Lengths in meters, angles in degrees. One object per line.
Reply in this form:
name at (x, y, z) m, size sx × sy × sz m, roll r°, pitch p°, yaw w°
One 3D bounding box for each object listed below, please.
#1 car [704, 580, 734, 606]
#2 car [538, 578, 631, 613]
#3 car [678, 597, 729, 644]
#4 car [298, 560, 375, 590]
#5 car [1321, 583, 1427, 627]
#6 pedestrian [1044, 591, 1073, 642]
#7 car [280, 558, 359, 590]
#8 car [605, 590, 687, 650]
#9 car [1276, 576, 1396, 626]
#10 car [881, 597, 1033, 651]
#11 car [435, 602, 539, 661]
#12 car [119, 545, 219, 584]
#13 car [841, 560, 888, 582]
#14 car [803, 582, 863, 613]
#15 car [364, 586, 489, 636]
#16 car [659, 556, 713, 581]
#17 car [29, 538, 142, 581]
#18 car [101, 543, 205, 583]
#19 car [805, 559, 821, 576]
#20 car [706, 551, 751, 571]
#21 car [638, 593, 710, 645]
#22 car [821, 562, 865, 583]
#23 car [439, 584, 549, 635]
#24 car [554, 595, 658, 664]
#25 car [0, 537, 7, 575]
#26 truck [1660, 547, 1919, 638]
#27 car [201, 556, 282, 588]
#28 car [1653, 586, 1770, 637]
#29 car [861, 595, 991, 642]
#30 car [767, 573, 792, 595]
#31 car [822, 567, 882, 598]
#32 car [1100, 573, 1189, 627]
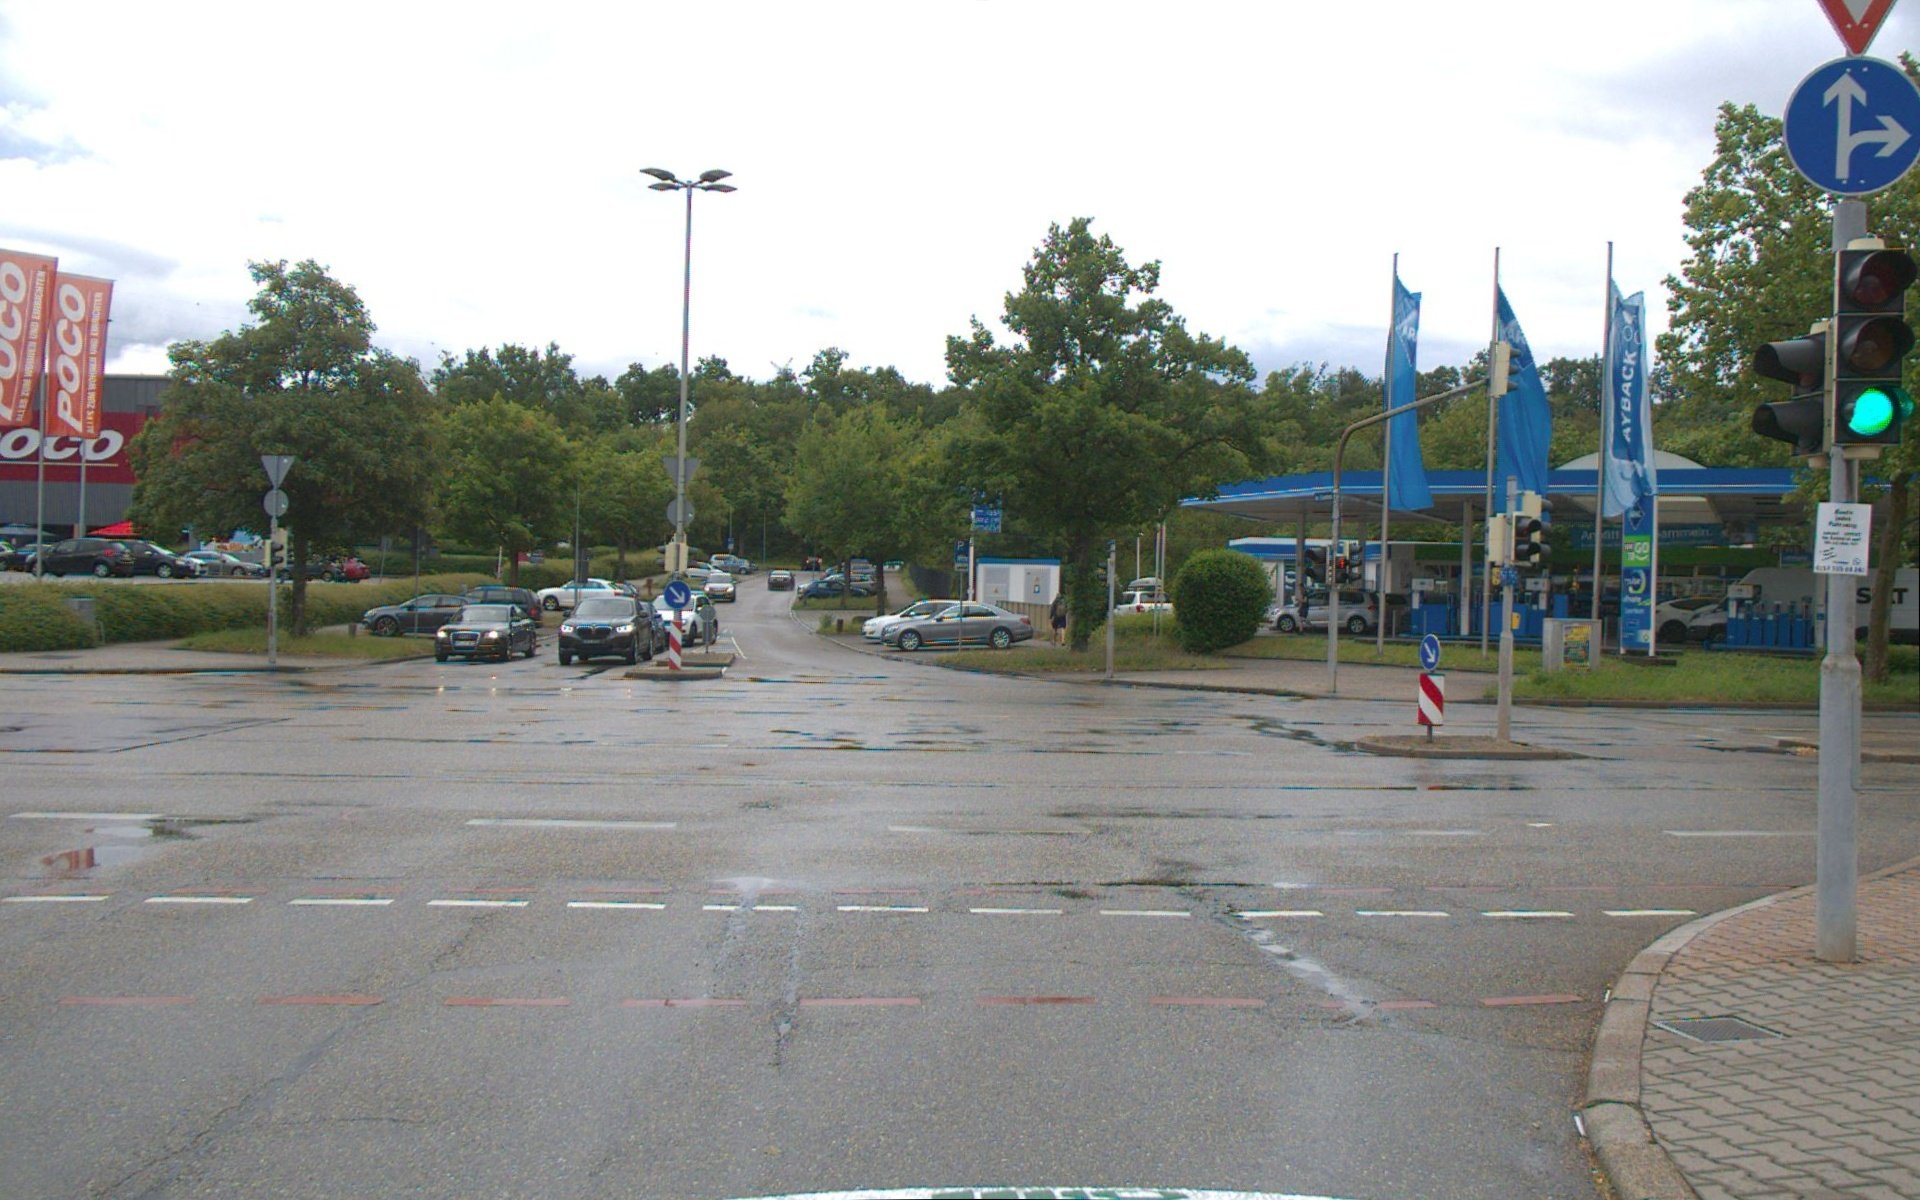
car at (-14.320, -0.390, 98.456) m, size 1.665 × 1.481 × 3.667 m, roll 1°, pitch -1°, yaw -7°
car at (-18.316, -0.224, 80.866) m, size 4.187 × 1.637 × 1.683 m, roll 1°, pitch -1°, yaw -4°
car at (-10.077, 0.772, 65.187) m, size 1.564 × 1.726 × 3.538 m, roll 1°, pitch 1°, yaw -2°
car at (-35.877, -1.425, 95.262) m, size 3.736 × 1.674 × 1.673 m, roll 1°, pitch -1°, yaw 0°
car at (16.929, 0.211, 67.687) m, size 3.909 × 1.758 × 1.793 m, roll 0°, pitch -1°, yaw 27°
pedestrian at (3.306, 0.566, 55.675) m, size 0.793 × 1.690 × 0.885 m, roll 1°, pitch -1°, yaw -9°
car at (-35.778, -1.447, 92.478) m, size 3.736 × 1.674 × 1.673 m, roll 1°, pitch -1°, yaw 0°
car at (-9.192, 0.584, 48.786) m, size 1.760 × 1.661 × 4.548 m, roll 1°, pitch -1°, yaw -3°
car at (14.339, 0.037, 63.177) m, size 4.041 × 1.839 × 1.940 m, roll 1°, pitch -1°, yaw 33°
car at (-0.137, 0.760, 54.431) m, size 4.794 × 1.575 × 1.997 m, roll -1°, pitch 2°, yaw -8°
car at (-12.126, 0.794, 42.609) m, size 1.748 × 1.429 × 3.997 m, roll 1°, pitch 0°, yaw -4°
car at (-36.281, -1.608, 75.904) m, size 3.736 × 1.674 × 1.673 m, roll 1°, pitch -1°, yaw 0°
car at (-8.234, -2.480, 142.192) m, size 3.911 × 1.769 × 1.808 m, roll 1°, pitch -1°, yaw -7°
car at (-7.321, -0.155, 95.486) m, size 3.393 × 1.683 × 1.614 m, roll 1°, pitch -1°, yaw -6°
car at (-17.401, 0.368, 54.078) m, size 3.580 × 1.580 × 1.682 m, roll 1°, pitch -1°, yaw -8°
car at (-20.496, -2.337, 123.827) m, size 3.912 × 1.825 × 1.853 m, roll 1°, pitch -1°, yaw -8°
car at (-35.997, -1.671, 68.153) m, size 3.736 × 1.674 × 1.673 m, roll 1°, pitch -1°, yaw 0°
car at (-35.681, -1.619, 73.156) m, size 3.736 × 1.674 × 1.673 m, roll 1°, pitch -1°, yaw 0°
car at (-16.132, -3.524, 181.284) m, size 1.769 × 1.769 × 3.995 m, roll 1°, pitch 0°, yaw -5°
car at (-21.582, -3.651, 154.342) m, size 3.907 × 1.825 × 1.855 m, roll 0°, pitch -1°, yaw -3°
car at (-9.221, 0.586, 53.613) m, size 1.858 × 1.580 × 3.997 m, roll 1°, pitch 1°, yaw -4°
car at (-10.573, -2.463, 149.580) m, size 3.911 × 1.769 × 1.808 m, roll 1°, pitch -1°, yaw -7°
car at (-16.771, 0.337, 59.701) m, size 3.580 × 1.755 × 1.682 m, roll 1°, pitch -1°, yaw -8°
car at (-8.682, 0.708, 40.948) m, size 1.858 × 1.580 × 4.588 m, roll 1°, pitch 0°, yaw -4°
car at (-37.598, -1.663, 61.098) m, size 3.816 × 1.405 × 1.673 m, roll 1°, pitch -1°, yaw 0°
truck at (26.175, -0.209, 51.875) m, size 7.691 × 2.722 × 2.154 m, roll 0°, pitch -1°, yaw 25°
car at (-40.232, -1.562, 92.648) m, size 3.736 × 1.674 × 1.673 m, roll 1°, pitch -1°, yaw 0°
car at (26.044, 0.380, 57.307) m, size 3.487 × 1.609 × 1.685 m, roll 2°, pitch 0°, yaw 31°
car at (-1.246, 0.661, 59.700) m, size 4.486 × 1.617 × 1.926 m, roll 1°, pitch -1°, yaw -8°
car at (-13.127, -1.175, 120.397) m, size 1.773 × 1.508 × 3.746 m, roll 1°, pitch 0°, yaw -6°
car at (-6.713, -1.080, 102.262) m, size 3.627 × 1.780 × 1.695 m, roll 1°, pitch -1°, yaw -6°
car at (6.470, 0.007, 58.465) m, size 1.780 × 1.828 × 3.682 m, roll 2°, pitch -1°, yaw -17°
